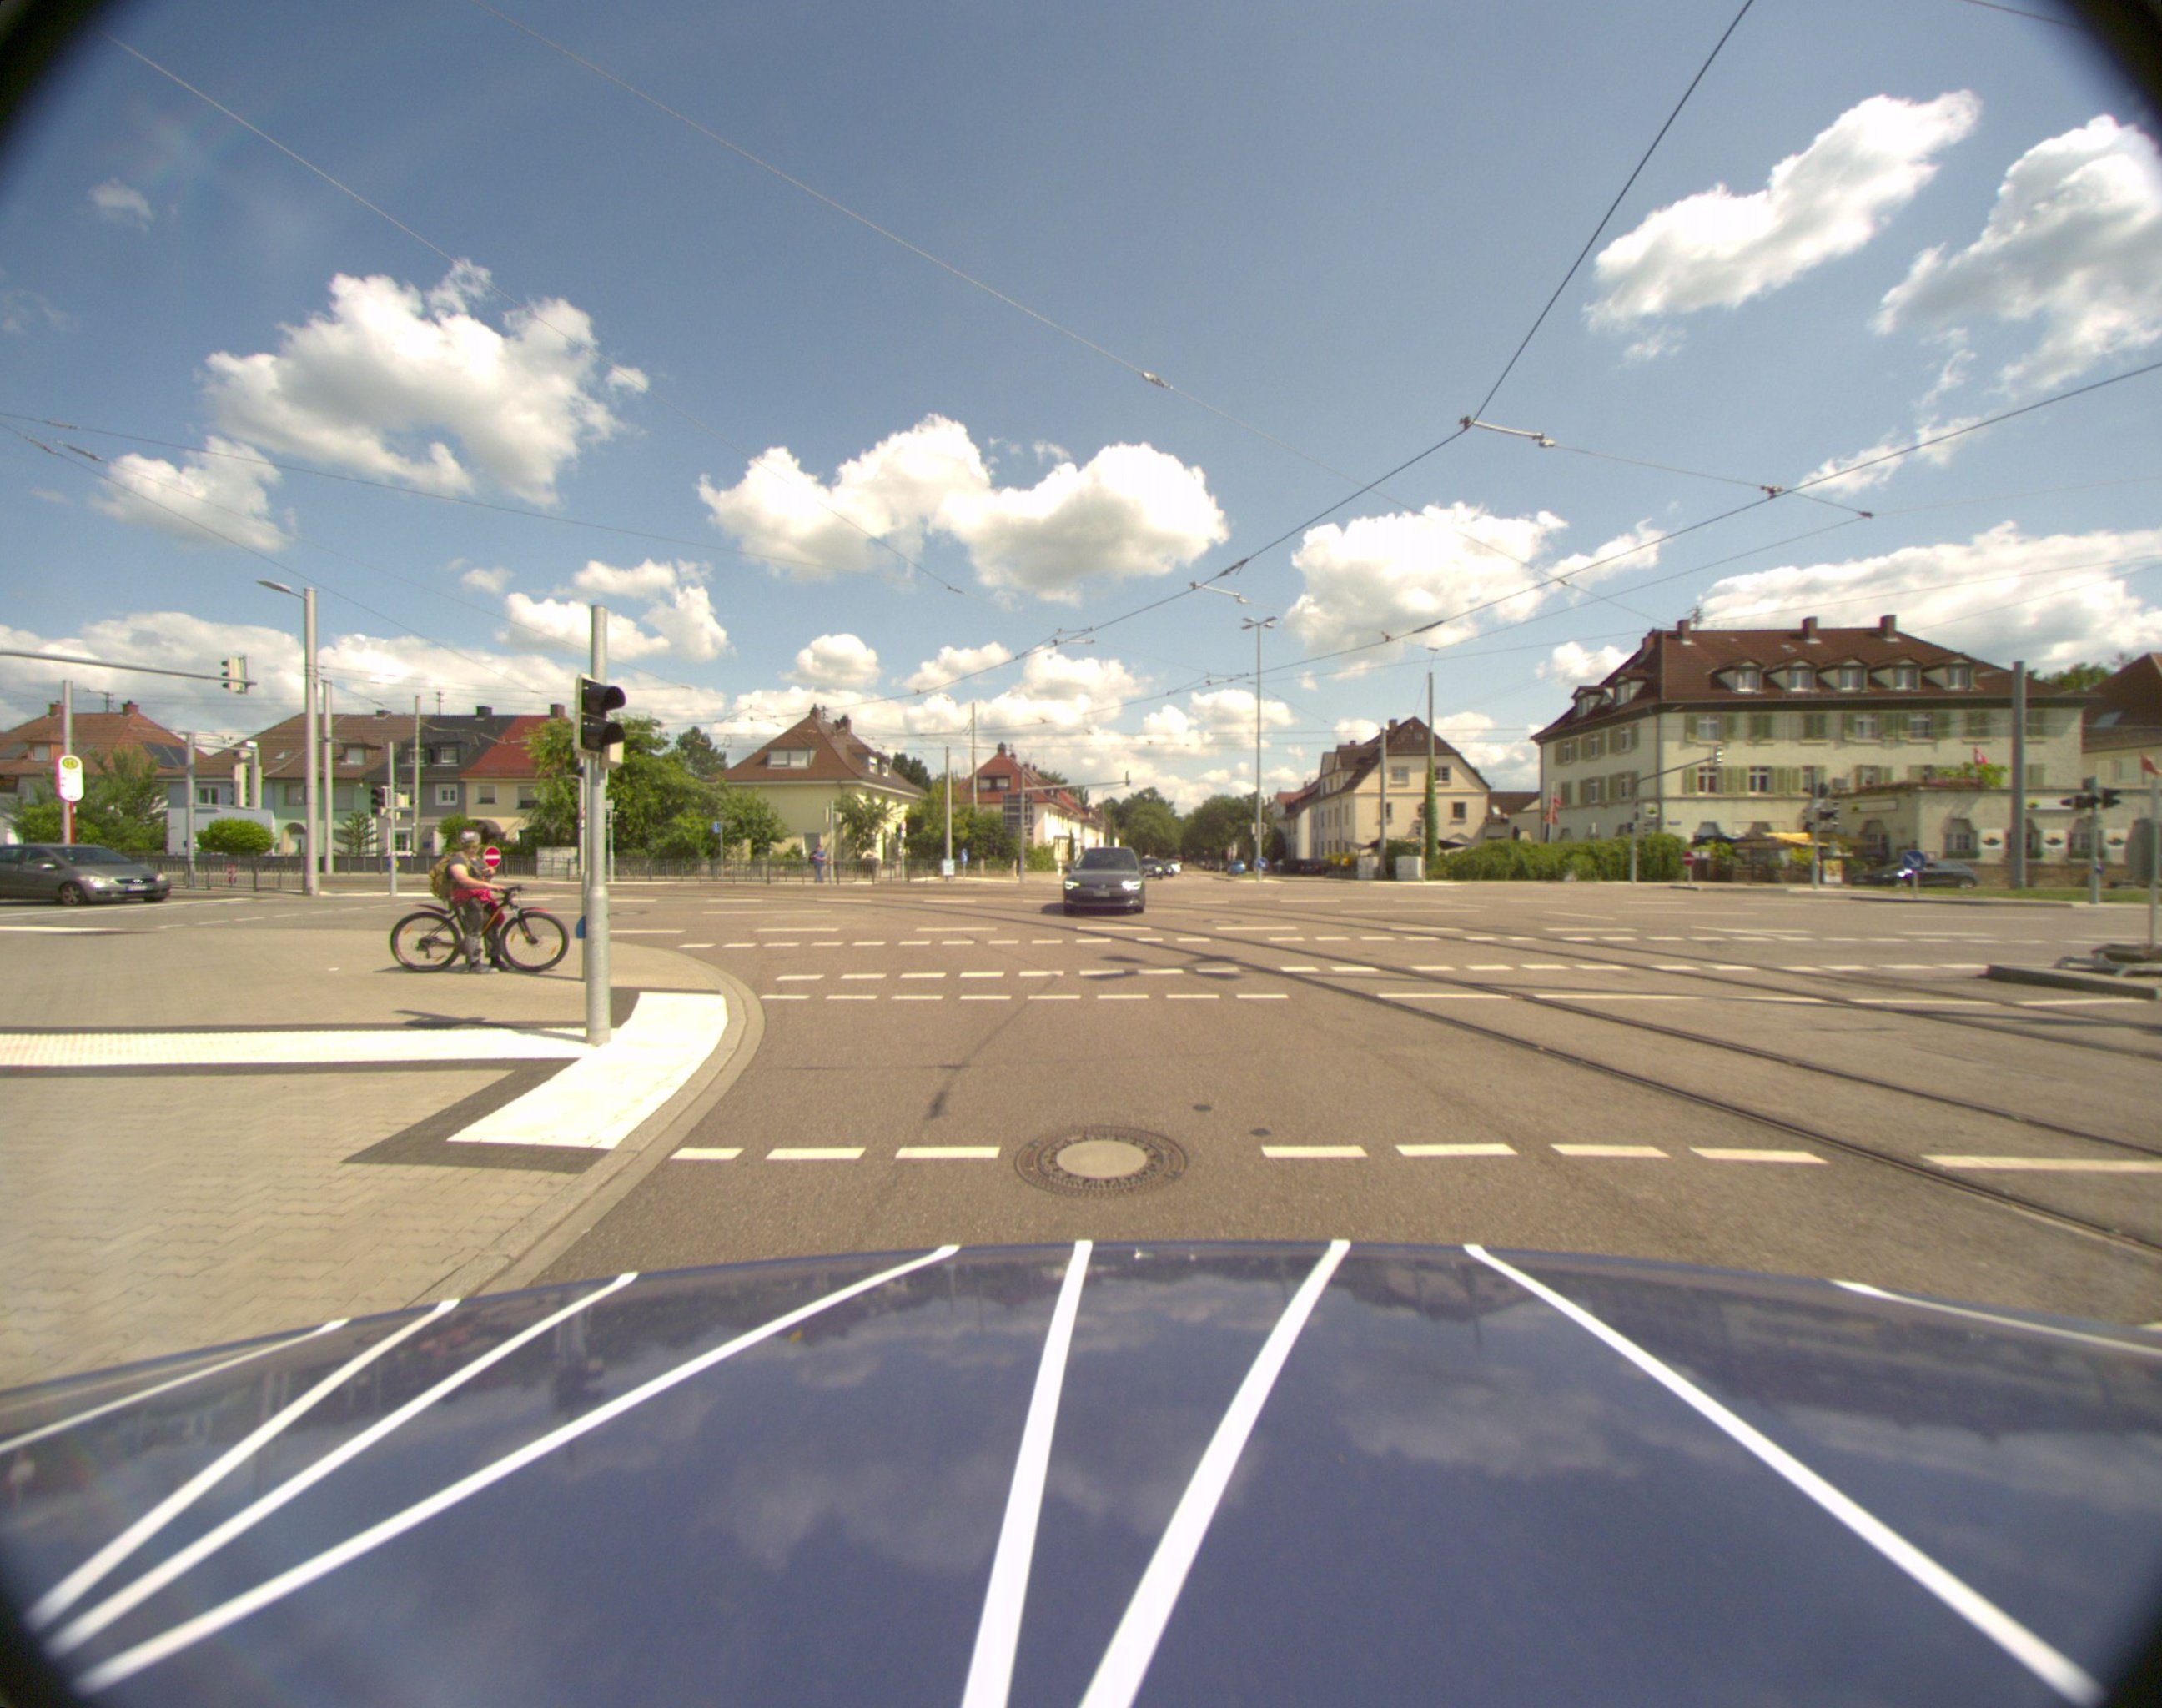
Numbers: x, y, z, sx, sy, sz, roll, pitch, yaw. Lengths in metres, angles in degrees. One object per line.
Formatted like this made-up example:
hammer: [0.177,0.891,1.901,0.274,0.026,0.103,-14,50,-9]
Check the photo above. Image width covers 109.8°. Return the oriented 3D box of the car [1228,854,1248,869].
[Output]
car: [16.174,0.767,78.324,1.709,1.454,3.156,0,0,6]

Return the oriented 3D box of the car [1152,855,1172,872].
car: [7.007,0.774,65.727,1.709,1.454,3.156,0,0,6]

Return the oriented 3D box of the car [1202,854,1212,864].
car: [20.722,0.753,124.977,1.561,1.645,3.253,0,0,9]

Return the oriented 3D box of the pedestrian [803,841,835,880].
pedestrian: [-11.537,0.289,33.529,1.032,1.725,1.041,0,0,2]

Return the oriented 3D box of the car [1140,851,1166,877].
car: [5.208,0.677,54.394,1.775,1.754,4.876,0,1,6]

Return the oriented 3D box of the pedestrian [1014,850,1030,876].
pedestrian: [-3.959,0.598,50.729,0.591,1.757,0.939,1,1,31]

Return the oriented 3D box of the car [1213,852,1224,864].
car: [19.844,0.565,109.727,1.561,1.645,3.576,0,0,9]

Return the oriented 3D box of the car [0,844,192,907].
car: [-26.310,0.534,19.943,3.995,1.559,1.842,0,1,4]

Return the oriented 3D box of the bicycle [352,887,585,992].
bicycle: [-7.226,0.978,9.103,2.036,1.095,0.714,0,1,-21]

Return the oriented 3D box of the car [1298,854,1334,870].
car: [20.805,0.675,67.196,1.757,1.378,4.111,0,0,36]

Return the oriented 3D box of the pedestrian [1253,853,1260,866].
pedestrian: [20.654,0.676,89.380,0.632,1.526,0.618,0,1,0]

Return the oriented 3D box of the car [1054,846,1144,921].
car: [0.529,0.575,17.239,1.766,1.465,4.689,0,0,4]

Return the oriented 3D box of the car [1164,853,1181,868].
car: [9.458,0.680,78.404,1.708,1.454,3.156,0,0,7]

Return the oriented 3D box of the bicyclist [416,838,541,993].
bicyclist: [-7.193,0.689,9.125,0.961,1.765,0.718,0,1,-20]

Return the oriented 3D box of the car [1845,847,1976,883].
car: [37.529,0.466,34.452,3.921,1.574,1.747,0,0,2]

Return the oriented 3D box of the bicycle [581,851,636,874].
bicycle: [-27.353,0.475,44.017,2.800,1.326,0.623,0,1,-2]

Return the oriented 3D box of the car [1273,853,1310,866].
car: [23.963,0.653,86.590,3.803,1.445,1.712,0,0,9]

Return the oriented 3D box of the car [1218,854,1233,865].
car: [18.261,0.705,96.009,1.708,1.288,3.921,0,0,9]
